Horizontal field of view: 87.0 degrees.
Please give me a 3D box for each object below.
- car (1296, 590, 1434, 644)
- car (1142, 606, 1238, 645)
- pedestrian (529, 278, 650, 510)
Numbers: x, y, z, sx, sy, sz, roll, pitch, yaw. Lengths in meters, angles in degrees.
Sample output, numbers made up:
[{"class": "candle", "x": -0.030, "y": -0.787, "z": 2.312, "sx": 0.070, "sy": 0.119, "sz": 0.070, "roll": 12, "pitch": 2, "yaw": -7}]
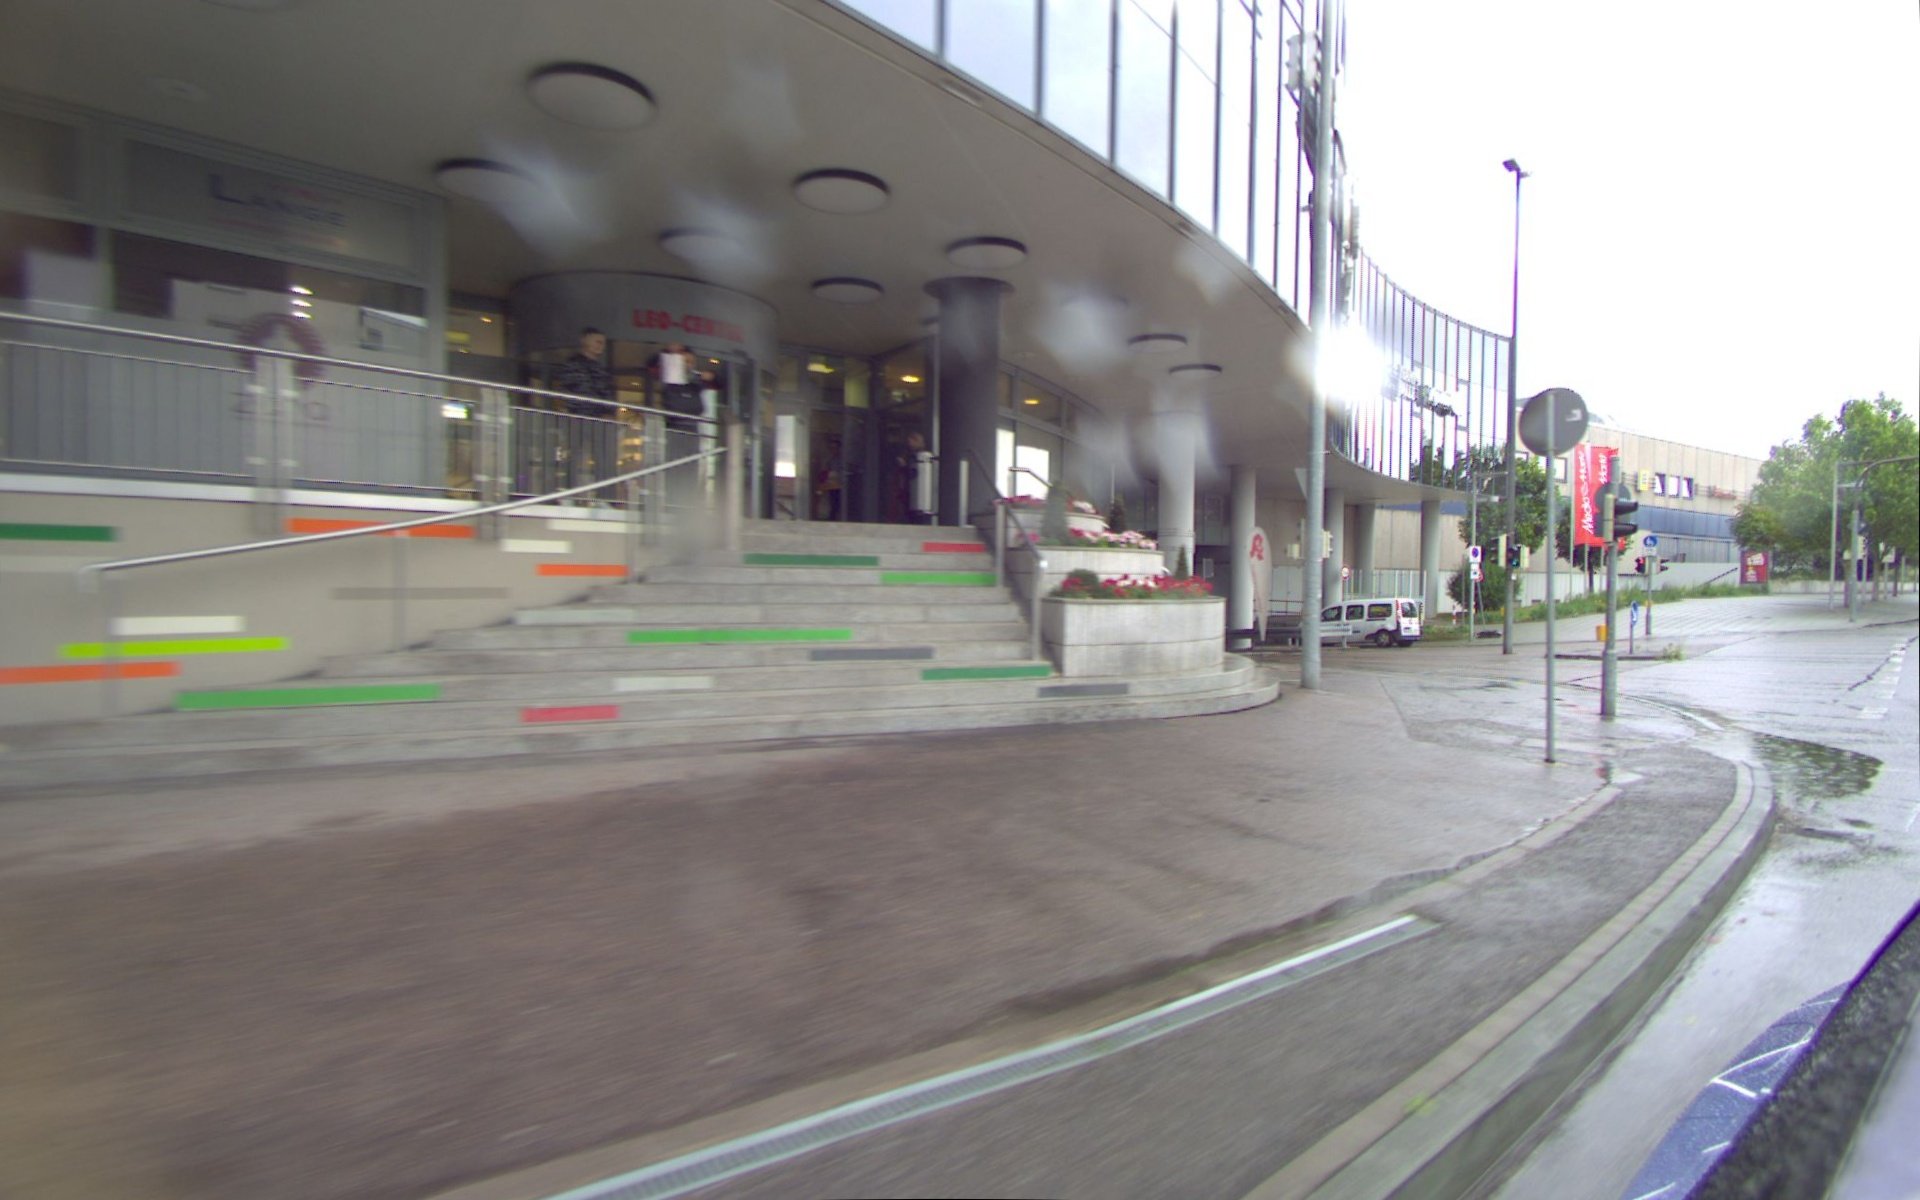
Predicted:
[{"class": "car", "x": 14.864, "y": 0.627, "z": 37.308, "sx": 1.898, "sy": 1.820, "sz": 4.289, "roll": -2, "pitch": 0, "yaw": -40}, {"class": "car", "x": 9.812, "y": 1.097, "z": 43.390, "sx": 1.729, "sy": 1.482, "sz": 3.945, "roll": -3, "pitch": -1, "yaw": -30}, {"class": "pedestrian", "x": -3.671, "y": -1.968, "z": 10.022, "sx": 0.818, "sy": 2.039, "sz": 0.950, "roll": 1, "pitch": -1, "yaw": -43}]
